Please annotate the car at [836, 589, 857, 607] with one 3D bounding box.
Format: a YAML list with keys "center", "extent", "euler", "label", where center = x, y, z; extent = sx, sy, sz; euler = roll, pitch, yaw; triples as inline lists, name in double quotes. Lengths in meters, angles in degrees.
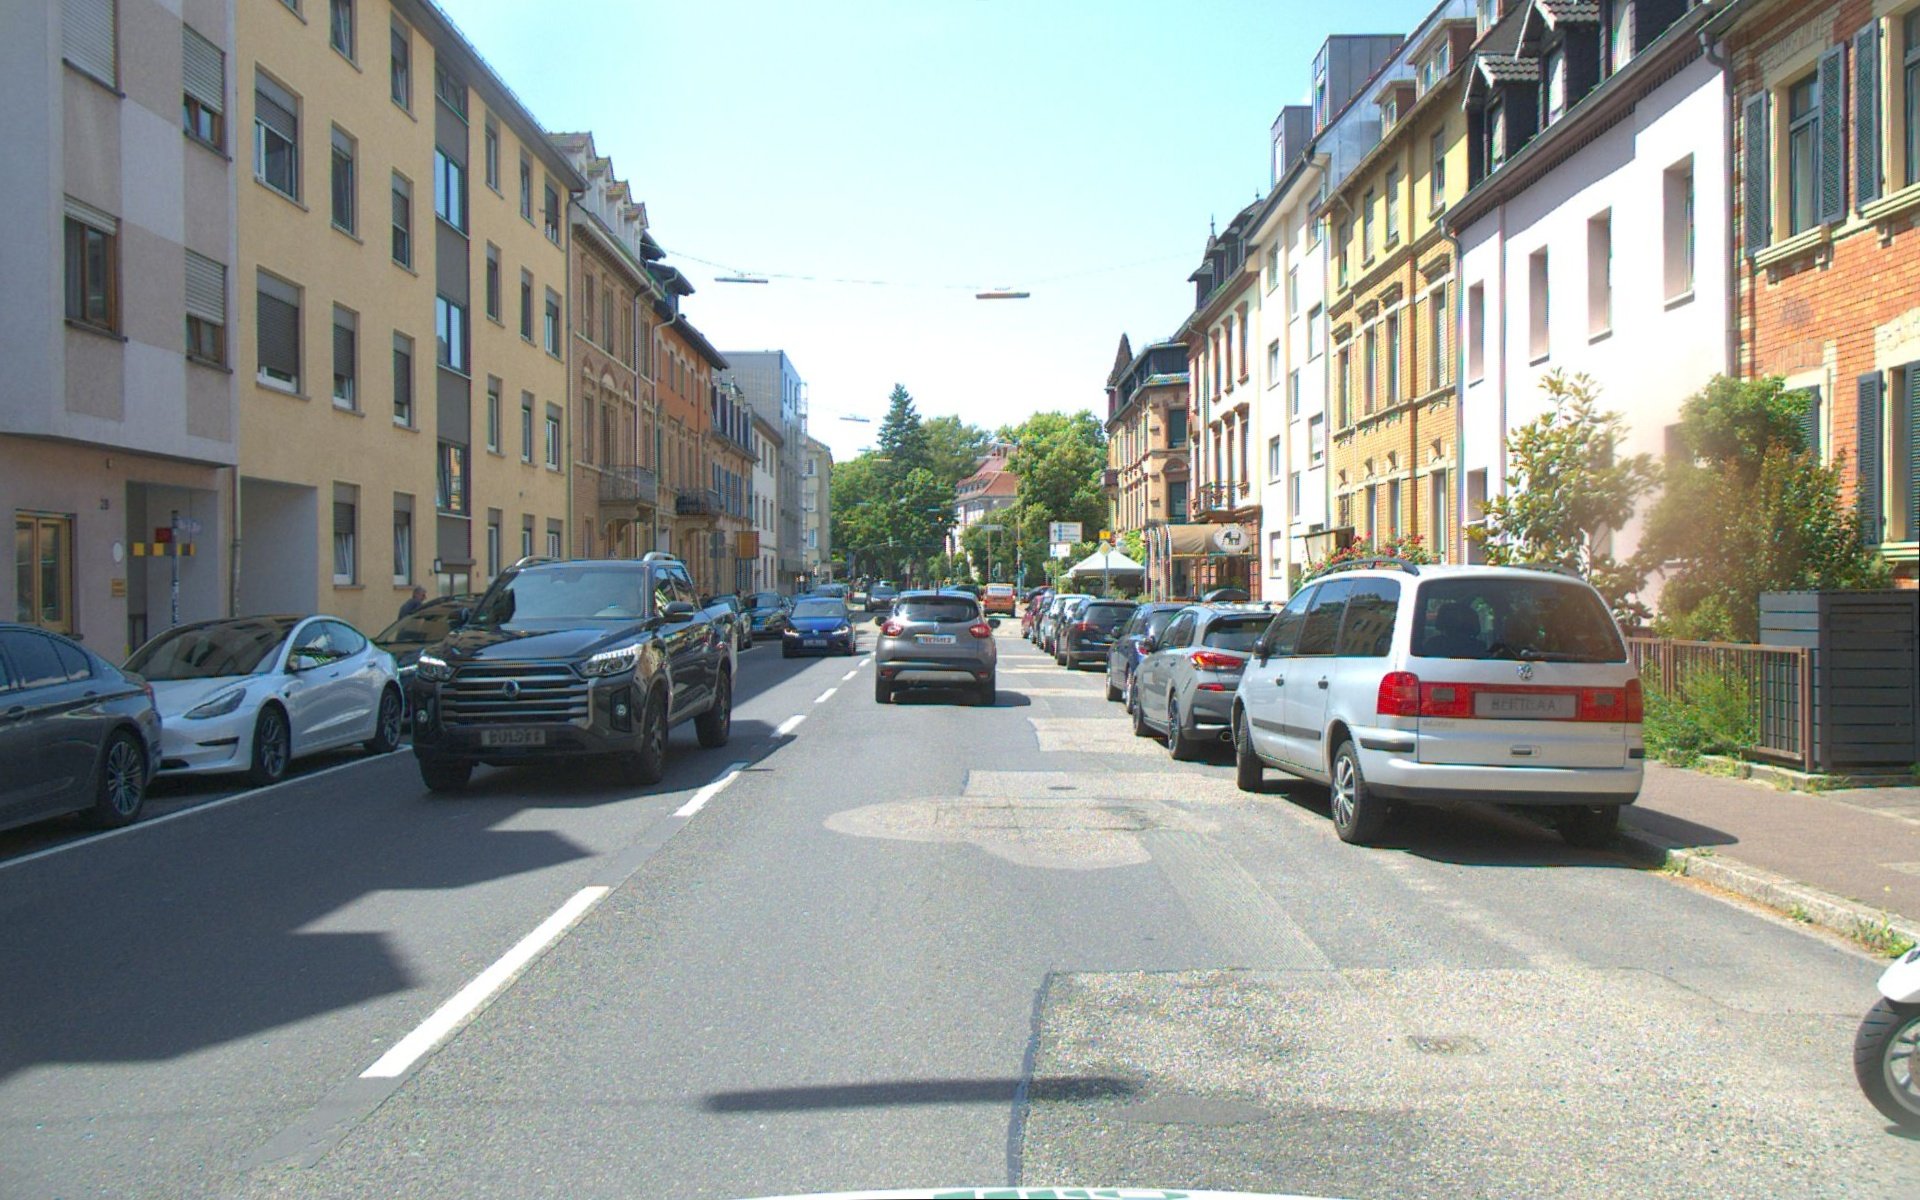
- center: [-11.106, -0.194, 161.784]
  extent: [1.753, 1.654, 3.744]
  euler: [0, 0, 1]
  label: "car"

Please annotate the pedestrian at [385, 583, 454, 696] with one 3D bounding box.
- center: [-8.774, 0.621, 26.809]
  extent: [0.953, 1.780, 1.147]
  euler: [-1, 0, -23]
  label: "pedestrian"

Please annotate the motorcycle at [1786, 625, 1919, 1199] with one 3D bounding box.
- center: [3.213, 0.778, 4.074]
  extent: [1.957, 1.410, 1.108]
  euler: [0, 0, 37]
  label: "motorcycle"

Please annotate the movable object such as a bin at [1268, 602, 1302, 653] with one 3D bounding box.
- center: [7.834, 0.650, 39.860]
  extent: [0.654, 1.197, 0.852]
  euler: [1, 0, 0]
  label: "movable object such as a bin"

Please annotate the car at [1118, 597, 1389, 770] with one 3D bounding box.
- center: [2.863, 0.753, 17.100]
  extent: [1.823, 1.513, 4.307]
  euler: [1, 0, -3]
  label: "car"

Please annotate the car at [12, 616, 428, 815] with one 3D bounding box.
- center: [-6.668, 0.947, 15.540]
  extent: [1.802, 1.447, 4.557]
  euler: [-4, 0, 0]
  label: "car"

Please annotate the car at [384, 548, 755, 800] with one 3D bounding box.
- center: [-3.221, 0.541, 14.853]
  extent: [1.952, 1.823, 5.149]
  euler: [-1, 0, 1]
  label: "car"

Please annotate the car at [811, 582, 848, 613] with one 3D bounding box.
- center: [-7.946, -0.164, 100.740]
  extent: [1.865, 1.853, 4.302]
  euler: [-1, 0, 0]
  label: "car"

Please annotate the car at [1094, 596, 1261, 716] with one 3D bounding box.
- center: [3.018, 0.720, 23.805]
  extent: [1.661, 1.513, 4.617]
  euler: [1, 0, -1]
  label: "car"

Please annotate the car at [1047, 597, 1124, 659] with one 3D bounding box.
- center: [3.155, 0.680, 42.201]
  extent: [1.626, 1.466, 4.000]
  euler: [1, 0, 0]
  label: "car"

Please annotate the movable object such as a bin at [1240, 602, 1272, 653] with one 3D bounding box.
- center: [7.135, 0.659, 39.860]
  extent: [0.625, 1.207, 0.852]
  euler: [1, 0, 2]
  label: "movable object such as a bin"

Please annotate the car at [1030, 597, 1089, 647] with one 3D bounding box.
- center: [3.042, 0.641, 50.923]
  extent: [1.578, 1.487, 3.505]
  euler: [0, 0, 0]
  label: "car"

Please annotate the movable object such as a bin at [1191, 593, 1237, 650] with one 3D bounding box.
- center: [6.533, 0.535, 42.578]
  extent: [1.021, 1.426, 1.254]
  euler: [1, 0, 1]
  label: "movable object such as a bin"

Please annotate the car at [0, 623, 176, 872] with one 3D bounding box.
- center: [-6.599, 0.924, 9.880]
  extent: [1.803, 1.447, 4.642]
  euler: [-3, 0, -4]
  label: "car"

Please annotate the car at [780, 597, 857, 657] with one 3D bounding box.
- center: [-3.571, 0.660, 42.388]
  extent: [1.779, 1.413, 3.998]
  euler: [-1, 0, -3]
  label: "car"

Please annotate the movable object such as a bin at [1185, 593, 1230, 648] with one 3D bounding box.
- center: [6.559, 0.540, 43.835]
  extent: [1.021, 1.426, 1.254]
  euler: [1, 0, 1]
  label: "movable object such as a bin"

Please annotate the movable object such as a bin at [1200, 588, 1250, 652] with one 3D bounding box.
- center: [6.585, 0.481, 41.207]
  extent: [1.021, 1.544, 1.446]
  euler: [1, 0, 1]
  label: "movable object such as a bin"

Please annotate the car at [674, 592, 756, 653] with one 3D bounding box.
- center: [-7.245, 0.623, 49.234]
  extent: [1.866, 1.648, 4.301]
  euler: [-3, 0, -2]
  label: "car"

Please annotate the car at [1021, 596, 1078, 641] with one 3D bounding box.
- center: [3.039, 0.606, 56.632]
  extent: [1.579, 1.468, 3.434]
  euler: [0, 0, -4]
  label: "car"

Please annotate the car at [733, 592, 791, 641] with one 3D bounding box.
- center: [-7.220, 0.578, 60.560]
  extent: [1.868, 1.648, 4.298]
  euler: [-3, 0, -5]
  label: "car"

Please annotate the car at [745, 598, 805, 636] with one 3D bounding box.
- center: [-7.352, 0.668, 66.159]
  extent: [1.866, 1.381, 4.302]
  euler: [-3, 0, 0]
  label: "car"

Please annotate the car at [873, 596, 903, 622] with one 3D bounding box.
- center: [-4.564, 0.573, 105.174]
  extent: [1.900, 1.654, 3.998]
  euler: [0, 0, -2]
  label: "car"

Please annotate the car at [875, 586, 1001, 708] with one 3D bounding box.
- center: [-0.335, 0.646, 24.705]
  extent: [1.708, 1.644, 3.999]
  euler: [1, 0, -1]
  label: "car"

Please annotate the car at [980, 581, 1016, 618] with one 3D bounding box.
- center: [2.205, -0.043, 94.724]
  extent: [1.952, 2.049, 4.467]
  euler: [-1, 0, 2]
  label: "car"

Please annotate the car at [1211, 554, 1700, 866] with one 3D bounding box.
- center: [3.229, 0.627, 11.869]
  extent: [1.824, 1.778, 4.614]
  euler: [1, 0, -4]
  label: "car"

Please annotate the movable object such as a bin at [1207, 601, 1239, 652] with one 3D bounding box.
- center: [6.341, 0.635, 39.872]
  extent: [0.625, 1.197, 0.911]
  euler: [1, 0, 2]
  label: "movable object such as a bin"

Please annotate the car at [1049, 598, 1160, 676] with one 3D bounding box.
- center: [2.987, 0.732, 35.081]
  extent: [1.823, 1.490, 4.617]
  euler: [1, 0, -1]
  label: "car"

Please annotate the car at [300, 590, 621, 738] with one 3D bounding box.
- center: [-6.468, 0.770, 22.052]
  extent: [1.864, 1.666, 4.561]
  euler: [-3, 0, 16]
  label: "car"

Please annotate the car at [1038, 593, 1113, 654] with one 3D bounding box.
- center: [3.194, 0.621, 46.390]
  extent: [1.822, 1.580, 4.000]
  euler: [1, 0, 0]
  label: "car"

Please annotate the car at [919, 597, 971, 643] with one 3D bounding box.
- center: [-0.615, 0.756, 63.970]
  extent: [1.776, 1.649, 4.439]
  euler: [-2, 0, -3]
  label: "car"
